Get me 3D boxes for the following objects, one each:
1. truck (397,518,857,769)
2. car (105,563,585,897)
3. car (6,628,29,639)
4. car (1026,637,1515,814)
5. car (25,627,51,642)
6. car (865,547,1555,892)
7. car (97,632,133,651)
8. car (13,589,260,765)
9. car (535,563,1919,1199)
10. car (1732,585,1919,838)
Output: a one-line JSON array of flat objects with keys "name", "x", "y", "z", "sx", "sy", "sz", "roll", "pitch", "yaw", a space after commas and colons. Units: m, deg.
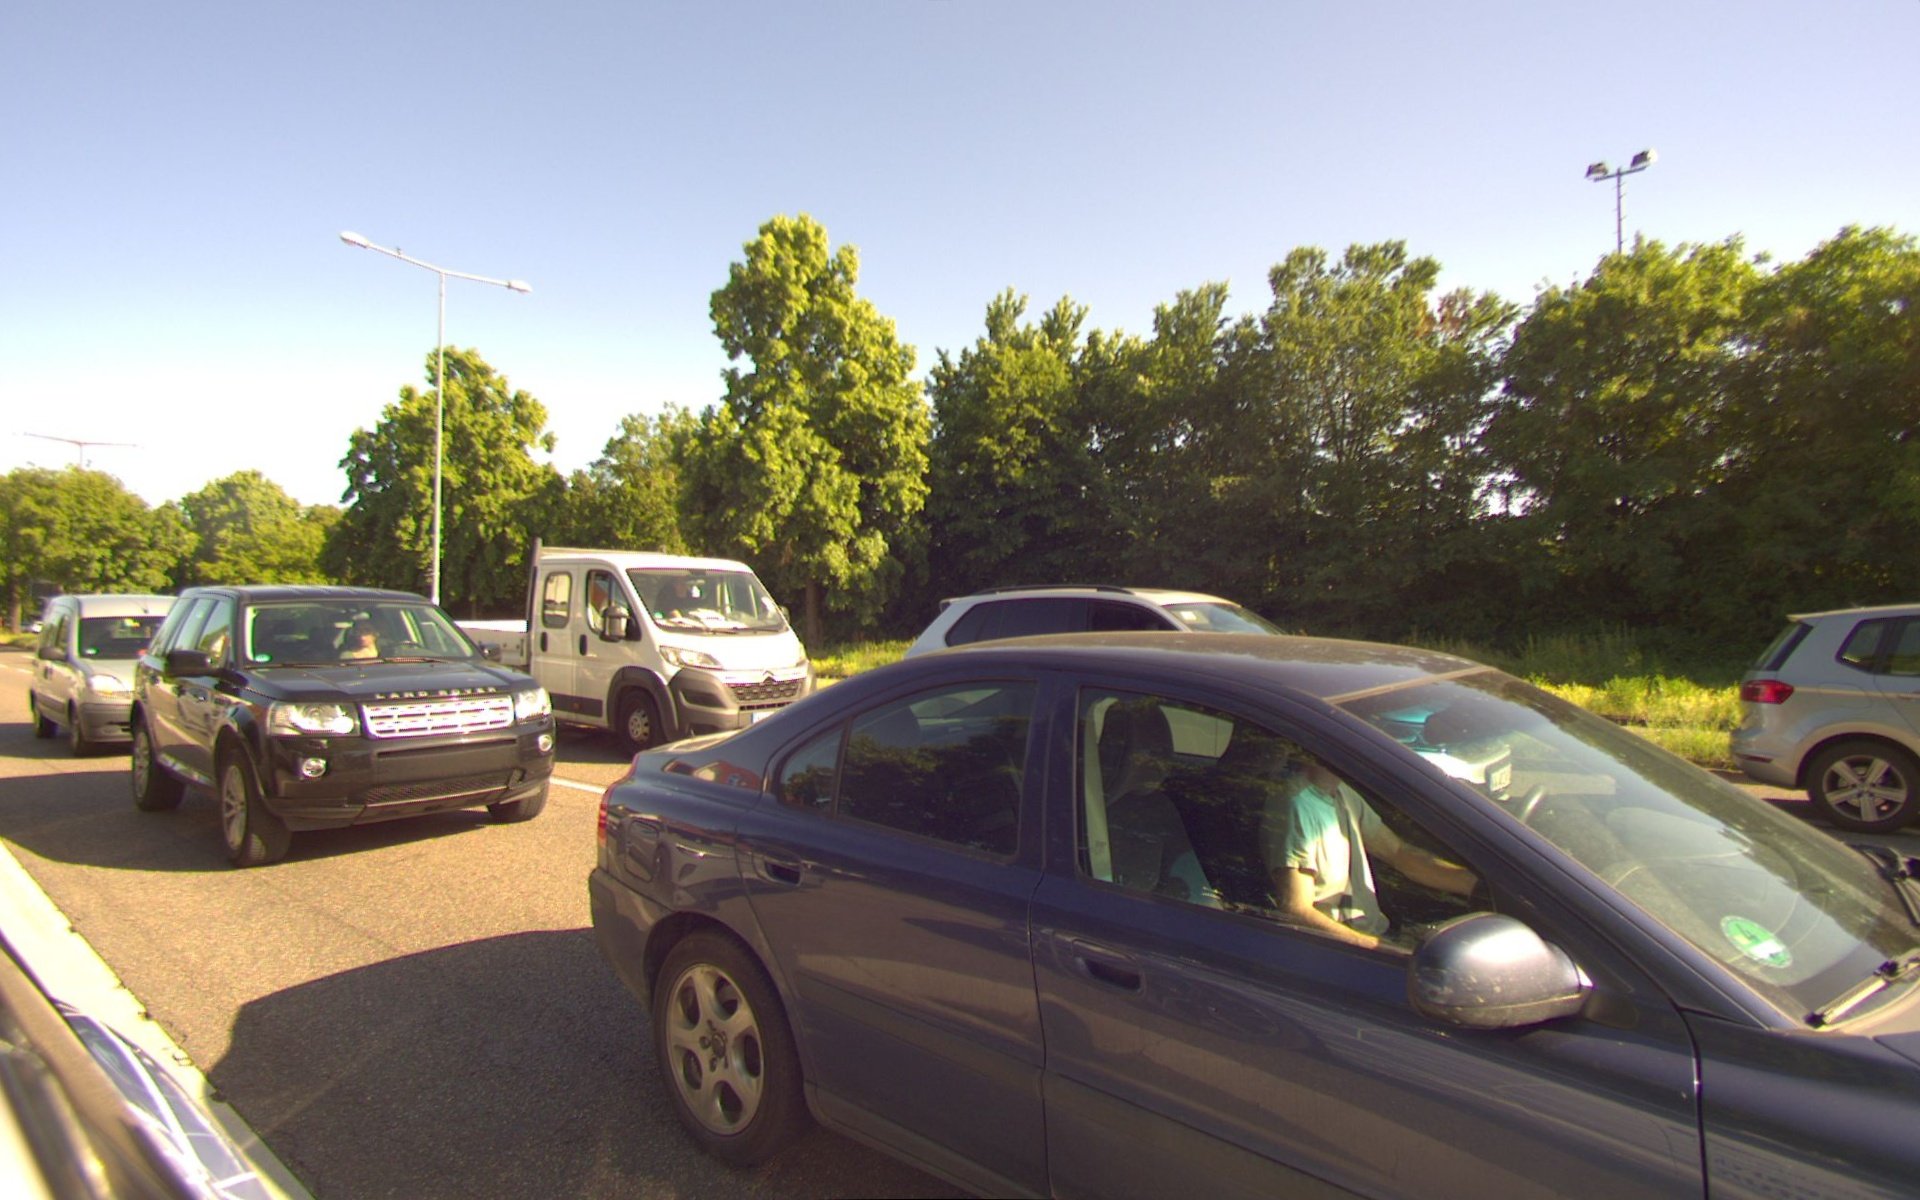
[{"name": "truck", "x": -4.418, "y": 0.439, "z": 12.468, "sx": 6.838, "sy": 2.337, "sz": 2.158, "roll": -1, "pitch": -1, "yaw": 40}, {"name": "car", "x": -4.694, "y": 0.704, "z": 7.427, "sx": 4.384, "sy": 1.744, "sz": 1.793, "roll": -1, "pitch": -1, "yaw": 41}, {"name": "car", "x": -122.512, "y": 4.341, "z": 131.579, "sx": 3.998, "sy": 1.428, "sz": 1.769, "roll": -2, "pitch": -3, "yaw": 41}, {"name": "car", "x": 3.032, "y": 1.117, "z": 10.550, "sx": 4.550, "sy": 1.440, "sz": 1.811, "roll": -2, "pitch": -3, "yaw": 41}, {"name": "car", "x": -108.561, "y": 4.091, "z": 119.165, "sx": 3.998, "sy": 1.697, "sz": 1.769, "roll": -2, "pitch": -3, "yaw": 41}, {"name": "car", "x": 1.552, "y": 0.670, "z": 7.285, "sx": 4.422, "sy": 1.723, "sz": 1.973, "roll": -2, "pitch": -3, "yaw": 41}, {"name": "car", "x": -74.587, "y": 3.652, "z": 89.313, "sx": 3.998, "sy": 1.697, "sz": 1.854, "roll": -2, "pitch": -3, "yaw": 41}, {"name": "car", "x": -10.051, "y": 0.798, "z": 12.228, "sx": 4.384, "sy": 1.765, "sz": 1.611, "roll": -1, "pitch": -1, "yaw": 41}, {"name": "car", "x": 0.892, "y": 0.693, "z": 2.431, "sx": 4.454, "sy": 1.463, "sz": 1.757, "roll": -1, "pitch": 0, "yaw": 41}, {"name": "car", "x": 7.631, "y": 0.719, "z": 6.420, "sx": 4.206, "sy": 1.623, "sz": 1.810, "roll": -2, "pitch": -3, "yaw": 42}]
